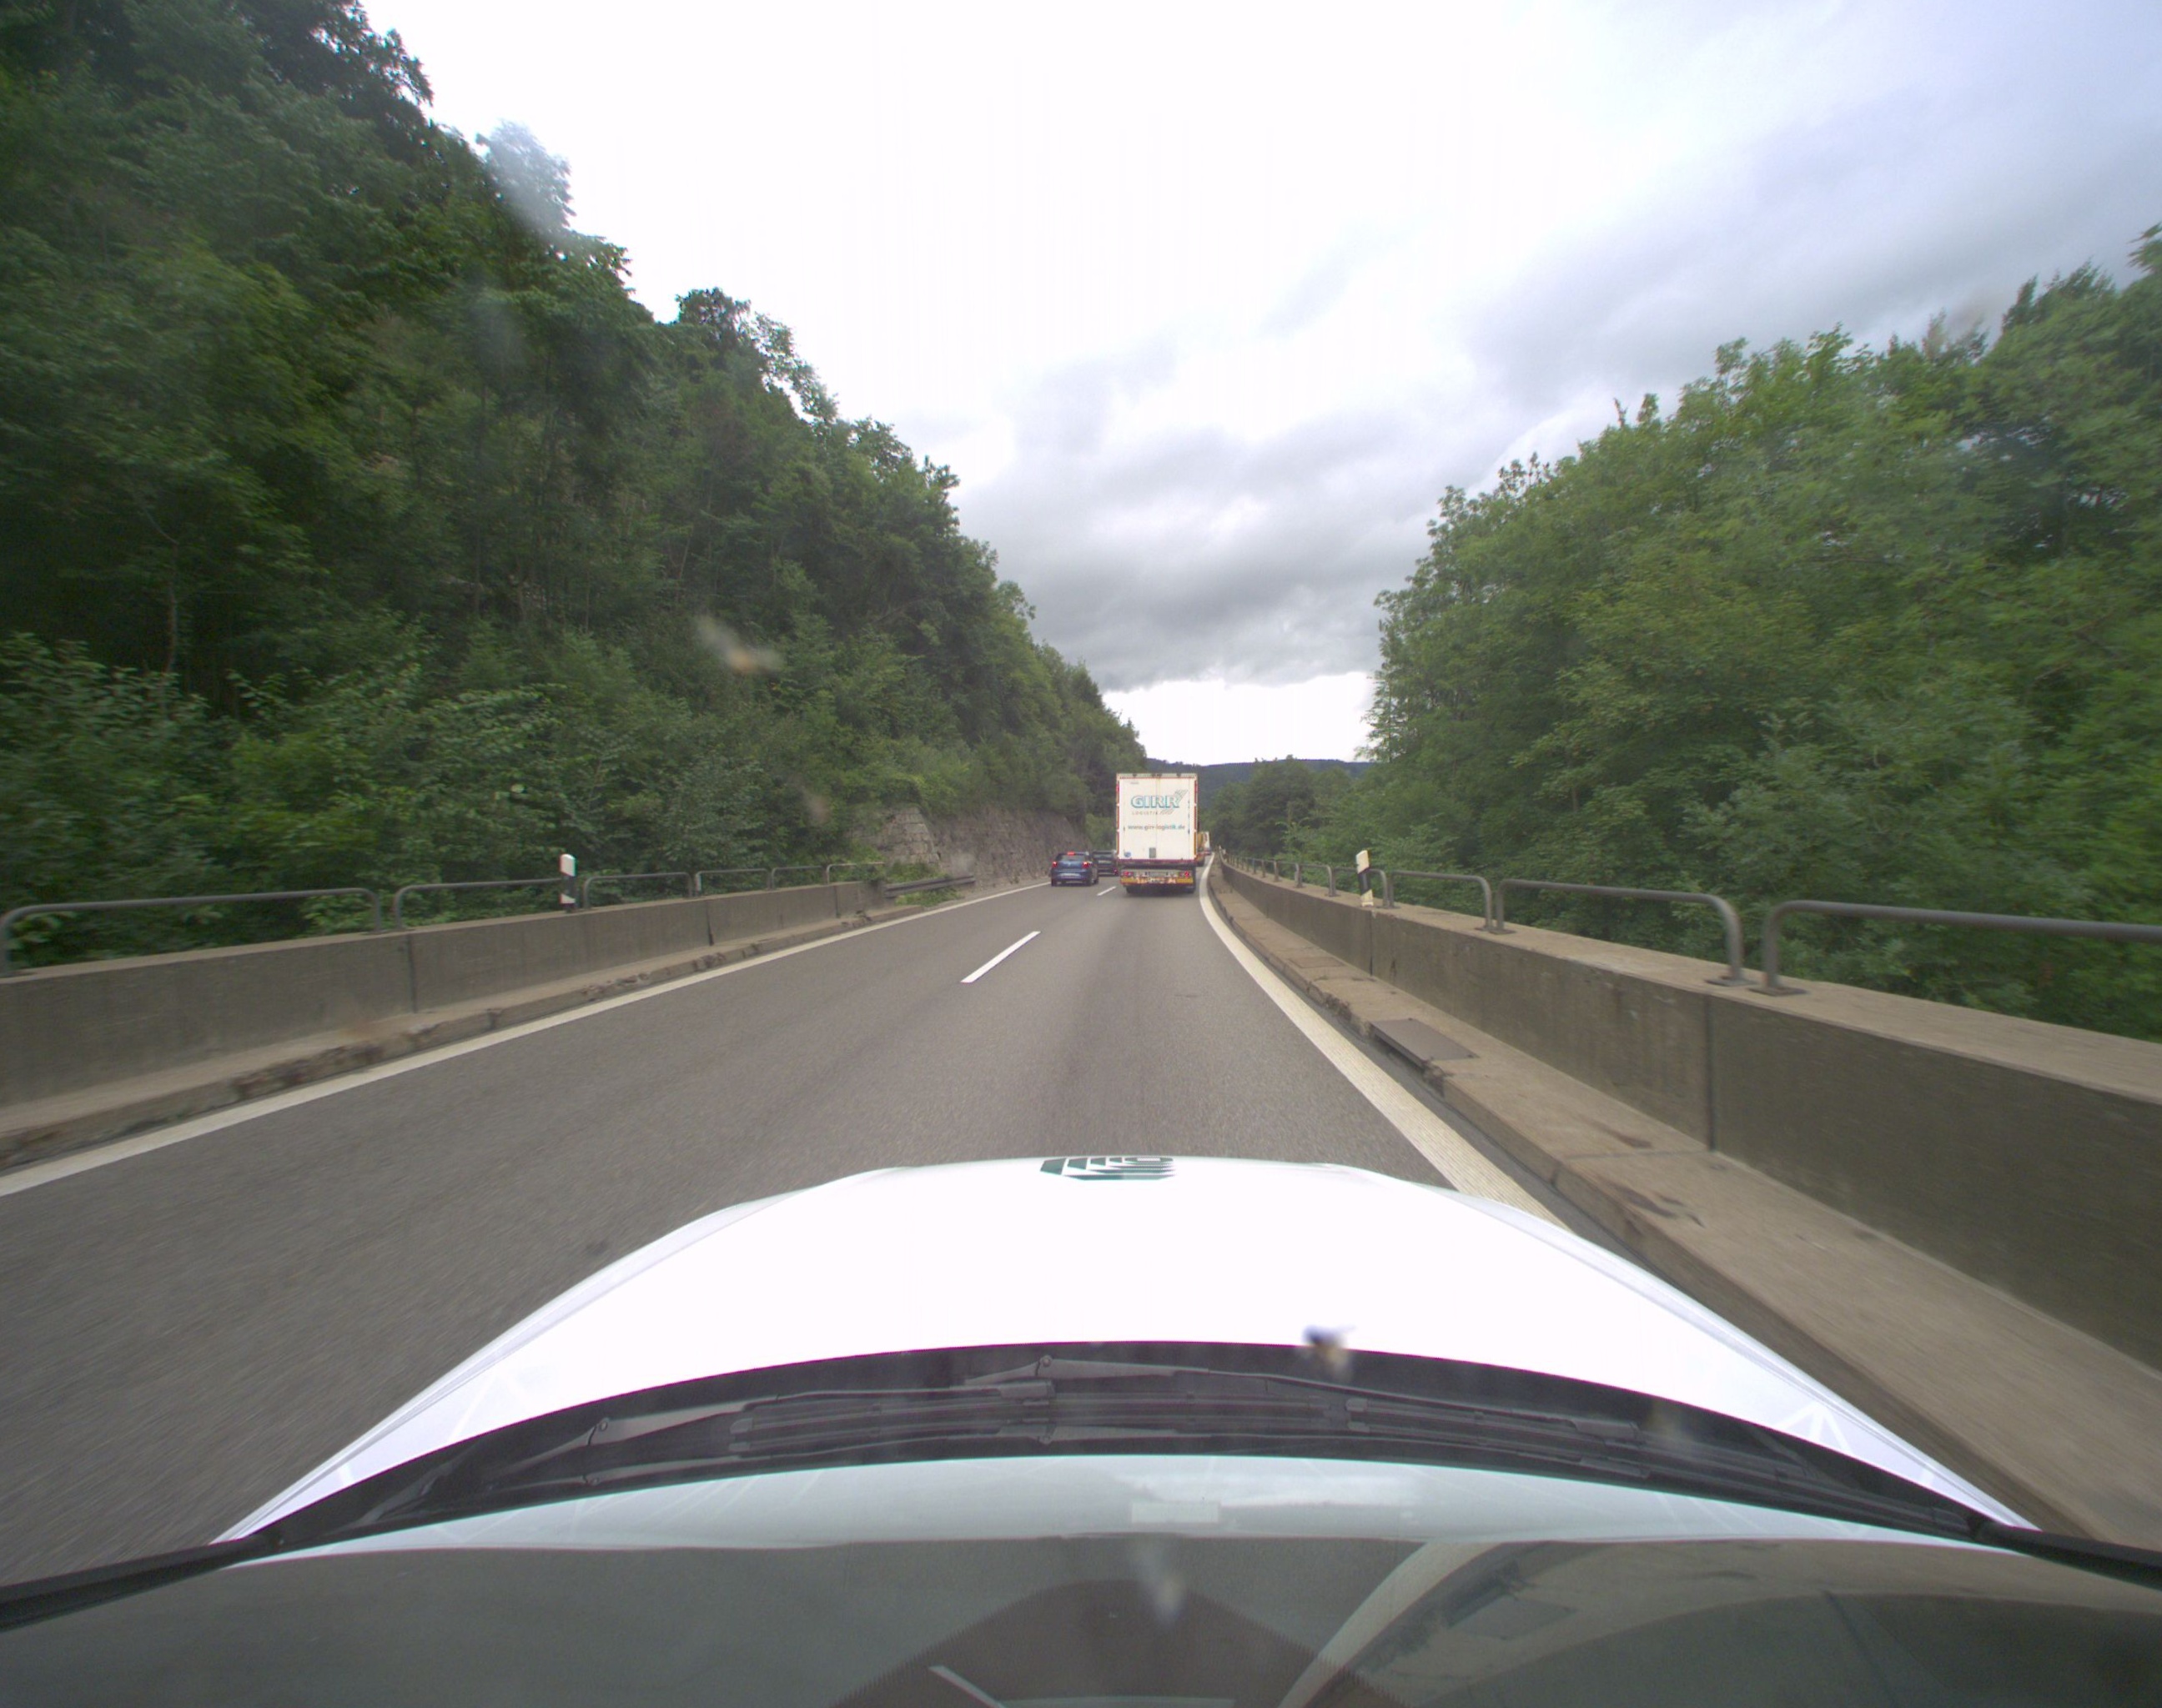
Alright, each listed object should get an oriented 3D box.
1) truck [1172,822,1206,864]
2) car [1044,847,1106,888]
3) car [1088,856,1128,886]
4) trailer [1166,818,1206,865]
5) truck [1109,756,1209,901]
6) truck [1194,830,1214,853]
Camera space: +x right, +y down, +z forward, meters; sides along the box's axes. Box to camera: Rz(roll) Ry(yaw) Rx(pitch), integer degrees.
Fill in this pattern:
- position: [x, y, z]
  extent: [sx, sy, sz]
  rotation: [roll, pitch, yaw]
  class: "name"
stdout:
- position: [10.254, -1.038, 77.092]
  extent: [2.953, 3.764, 5.585]
  rotation: [0, 0, 9]
  class: "truck"
- position: [-0.170, 0.525, 34.920]
  extent: [1.982, 1.596, 4.364]
  rotation: [-1, 1, 8]
  class: "car"
- position: [1.553, 0.936, 45.562]
  extent: [1.735, 1.587, 4.010]
  rotation: [-1, -1, 9]
  class: "car"
- position: [9.232, -1.051, 70.759]
  extent: [2.953, 3.764, 12.488]
  rotation: [0, 0, 9]
  class: "trailer"
- position: [3.486, -0.872, 32.992]
  extent: [3.067, 4.463, 15.190]
  rotation: [-1, 0, 8]
  class: "truck"
- position: [20.518, -2.001, 135.549]
  extent: [2.952, 3.765, 10.393]
  rotation: [0, 0, 11]
  class: "truck"
